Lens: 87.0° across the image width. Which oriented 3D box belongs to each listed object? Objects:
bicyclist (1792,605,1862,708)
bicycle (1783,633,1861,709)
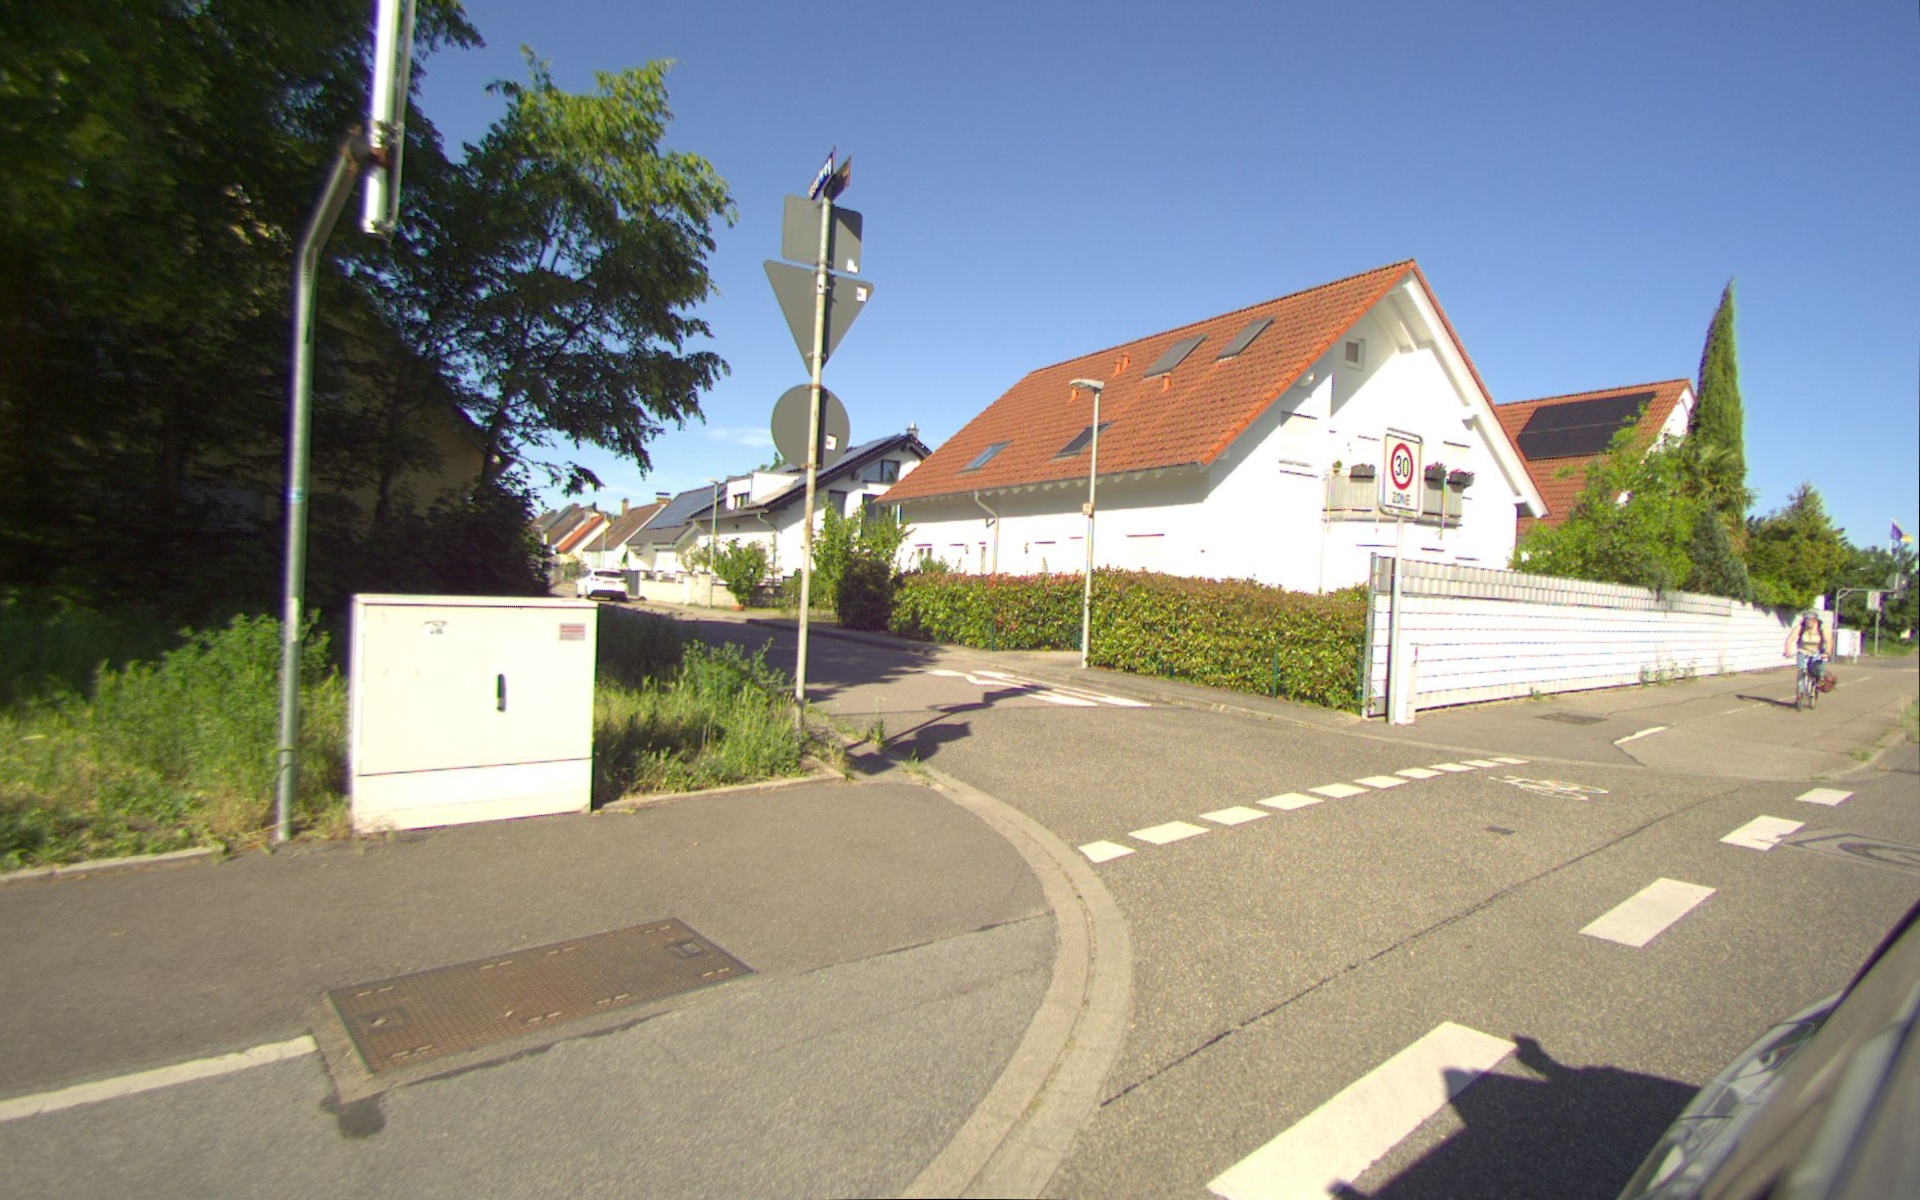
[{"bbox_3d":[14.735,0.947,17.199,0.964,1.652,0.632,3,2,-40],"label":"bicyclist"},{"bbox_3d":[14.613,1.185,17.141,2.102,1.169,0.575,3,3,-40],"label":"bicycle"}]
